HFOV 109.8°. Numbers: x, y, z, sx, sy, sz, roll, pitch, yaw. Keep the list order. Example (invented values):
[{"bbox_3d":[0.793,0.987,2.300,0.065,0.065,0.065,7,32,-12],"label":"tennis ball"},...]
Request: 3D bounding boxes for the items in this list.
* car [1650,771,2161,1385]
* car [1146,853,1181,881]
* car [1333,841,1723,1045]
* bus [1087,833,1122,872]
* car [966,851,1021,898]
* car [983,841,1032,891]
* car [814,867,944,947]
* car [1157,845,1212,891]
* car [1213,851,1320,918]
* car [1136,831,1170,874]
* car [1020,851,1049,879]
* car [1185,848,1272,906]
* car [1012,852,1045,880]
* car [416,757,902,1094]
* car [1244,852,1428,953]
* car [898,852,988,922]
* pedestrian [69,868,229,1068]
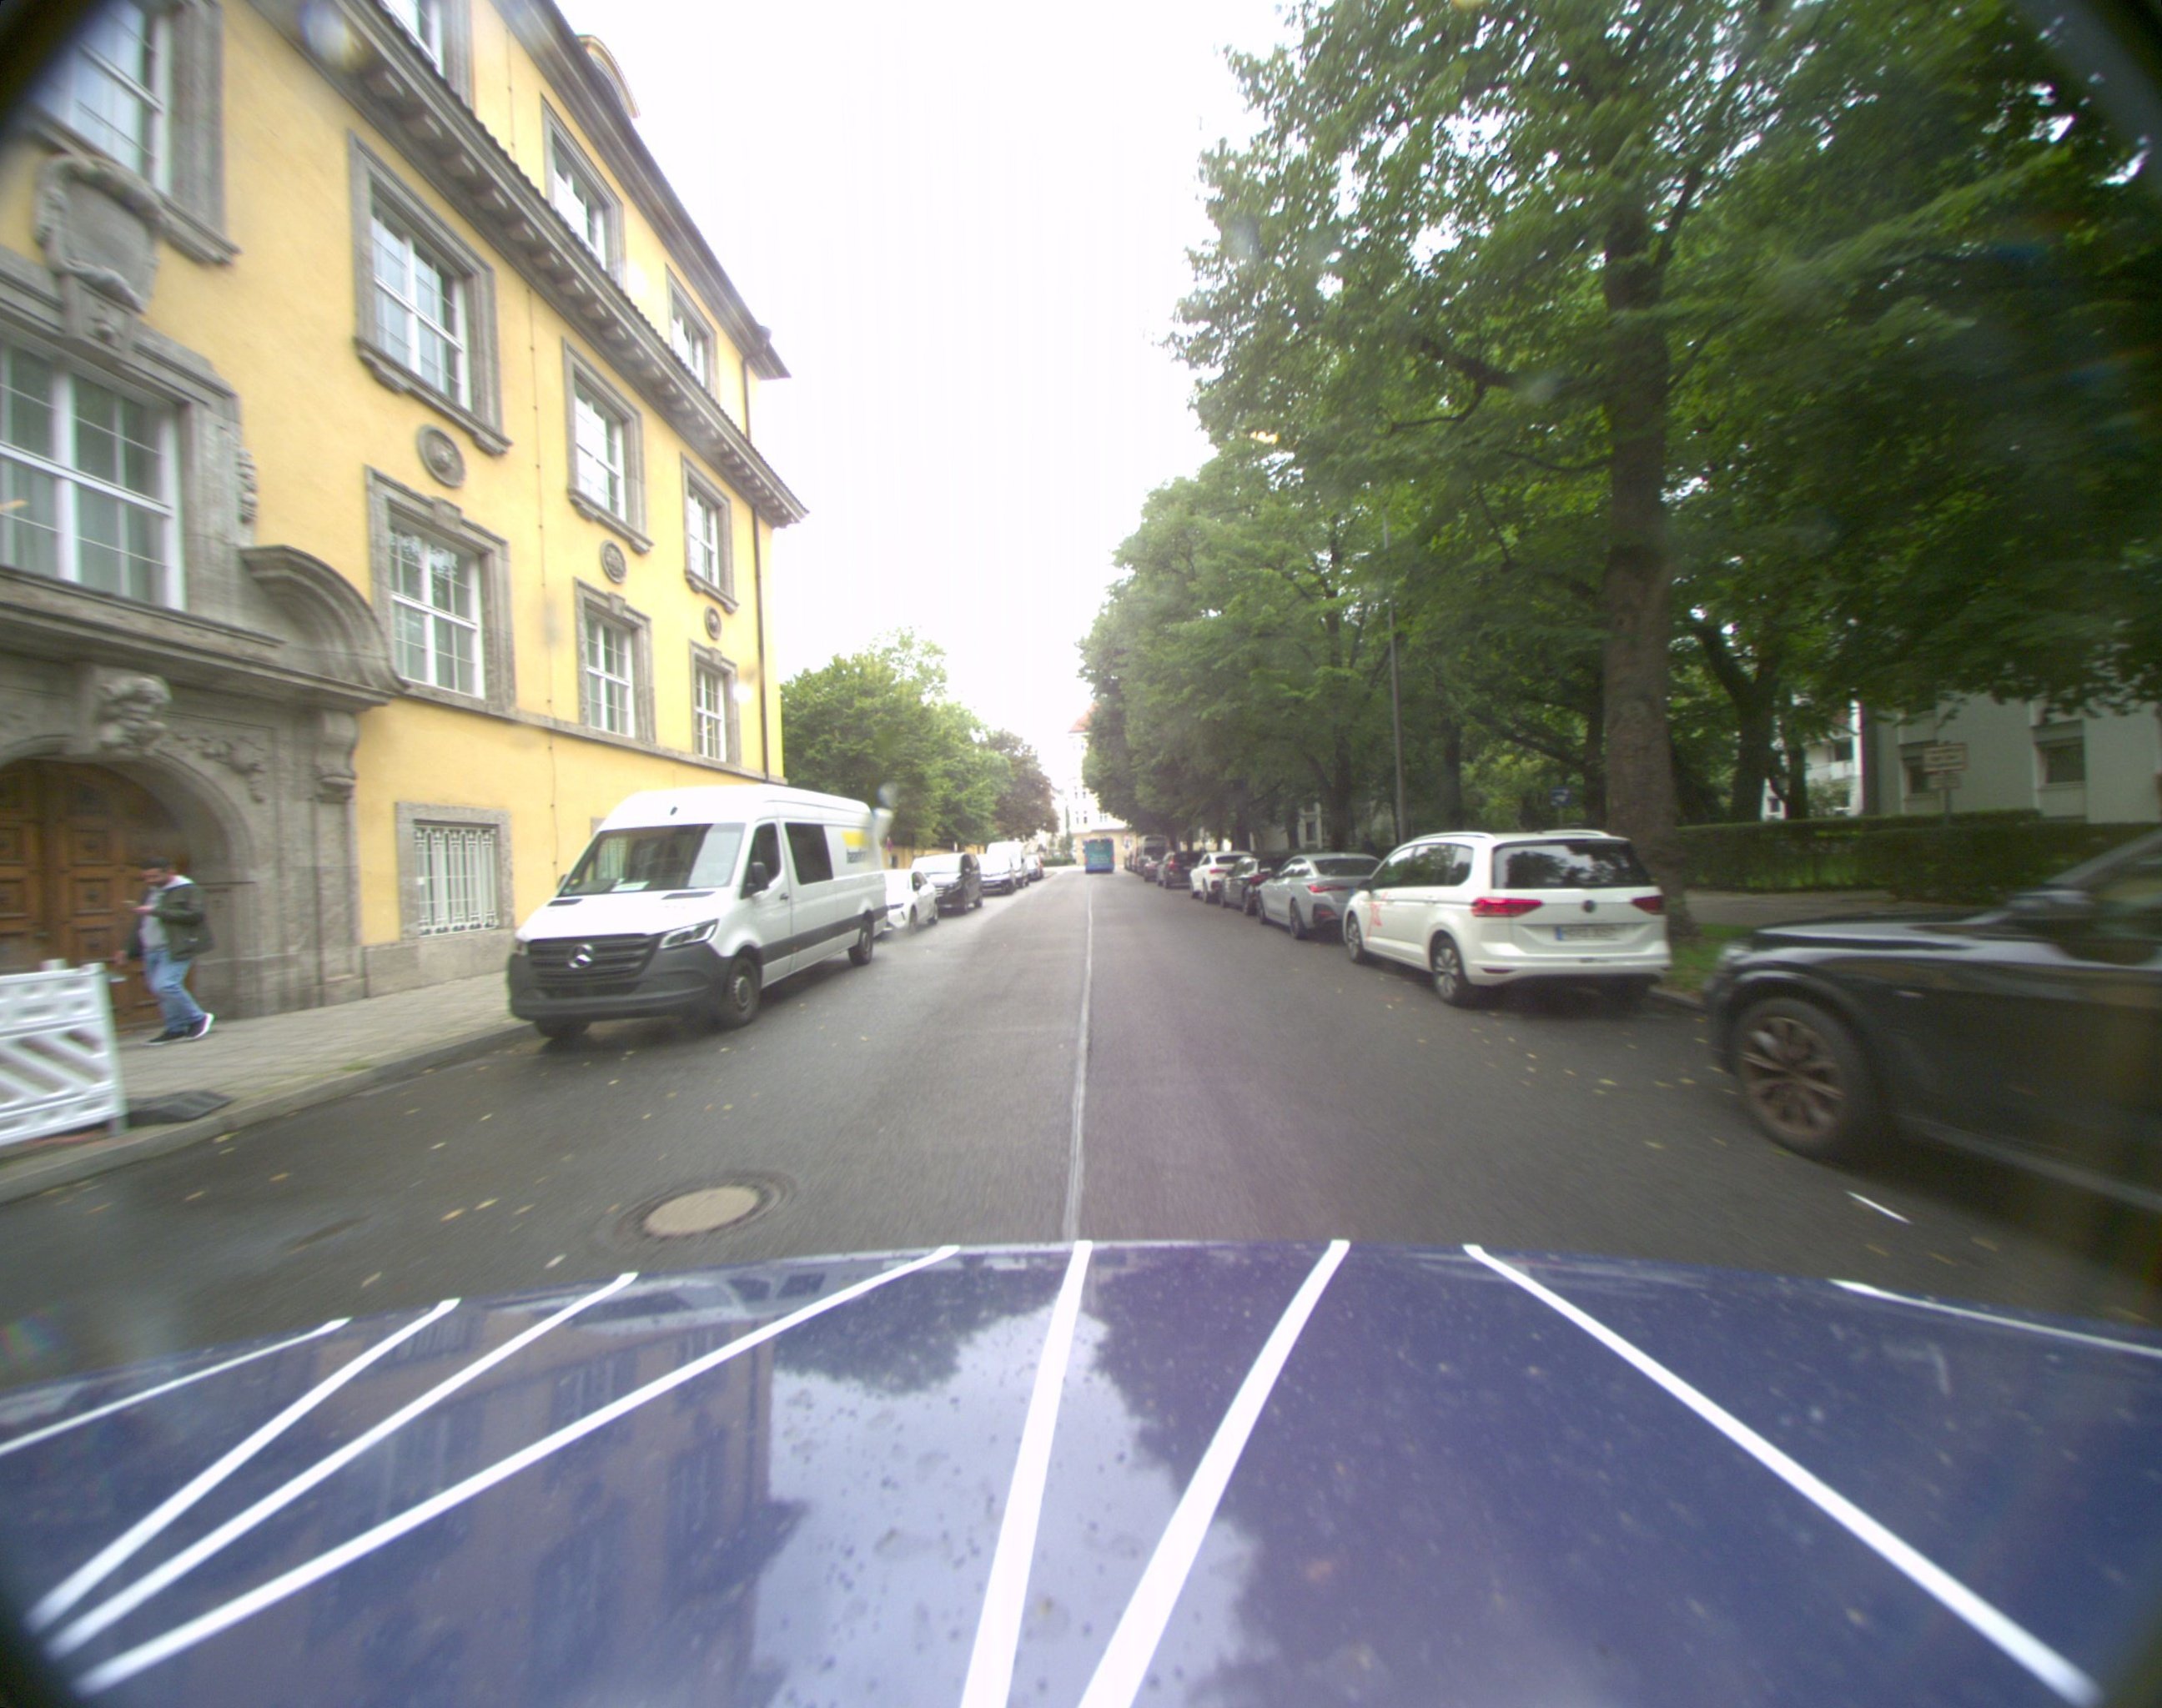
[{"bbox_3d":[4.116,0.637,1.804,1.998,1.786,4.920,-1,1,2],"label":"car"},{"bbox_3d":[4.677,0.719,43.598,1.794,1.429,4.553,-2,0,4],"label":"car"},{"bbox_3d":[4.286,0.681,8.298,1.769,1.612,4.523,0,1,3],"label":"car"},{"bbox_3d":[2.081,-0.293,74.382,2.866,3.221,18.422,-3,1,0],"label":"bus"},{"bbox_3d":[-3.947,0.858,35.118,2.019,1.895,5.162,-4,0,-2],"label":"car"},{"bbox_3d":[-4.013,0.584,42.534,2.100,2.473,5.738,-3,1,0],"label":"car"},{"bbox_3d":[-4.537,1.119,17.781,1.875,1.449,4.254,-3,1,0],"label":"car"},{"bbox_3d":[4.548,0.577,34.094,1.788,1.866,4.547,-1,0,0],"label":"car"},{"bbox_3d":[4.639,0.697,19.556,1.676,1.461,4.103,-3,1,0],"label":"car"},{"bbox_3d":[5.219,-0.172,55.768,1.949,2.838,6.235,-3,1,2],"label":"car"},{"bbox_3d":[-3.547,0.772,58.847,1.863,1.956,5.444,-3,1,0],"label":"car"},{"bbox_3d":[4.616,0.661,24.444,1.788,1.588,4.583,-3,1,0],"label":"car"},{"bbox_3d":[-3.622,0.817,53.167,1.863,1.731,4.602,-4,0,1],"label":"car"},{"bbox_3d":[-4.324,0.548,9.995,2.060,2.657,7.612,-3,1,0],"label":"car"},{"bbox_3d":[4.501,0.747,14.309,1.814,1.461,4.997,-3,1,1],"label":"car"},{"bbox_3d":[-4.181,0.916,23.922,1.875,1.858,4.985,-3,1,0],"label":"car"},{"bbox_3d":[-8.794,1.042,7.196,0.702,1.794,0.583,-1,2,1],"label":"pedestrian"}]
